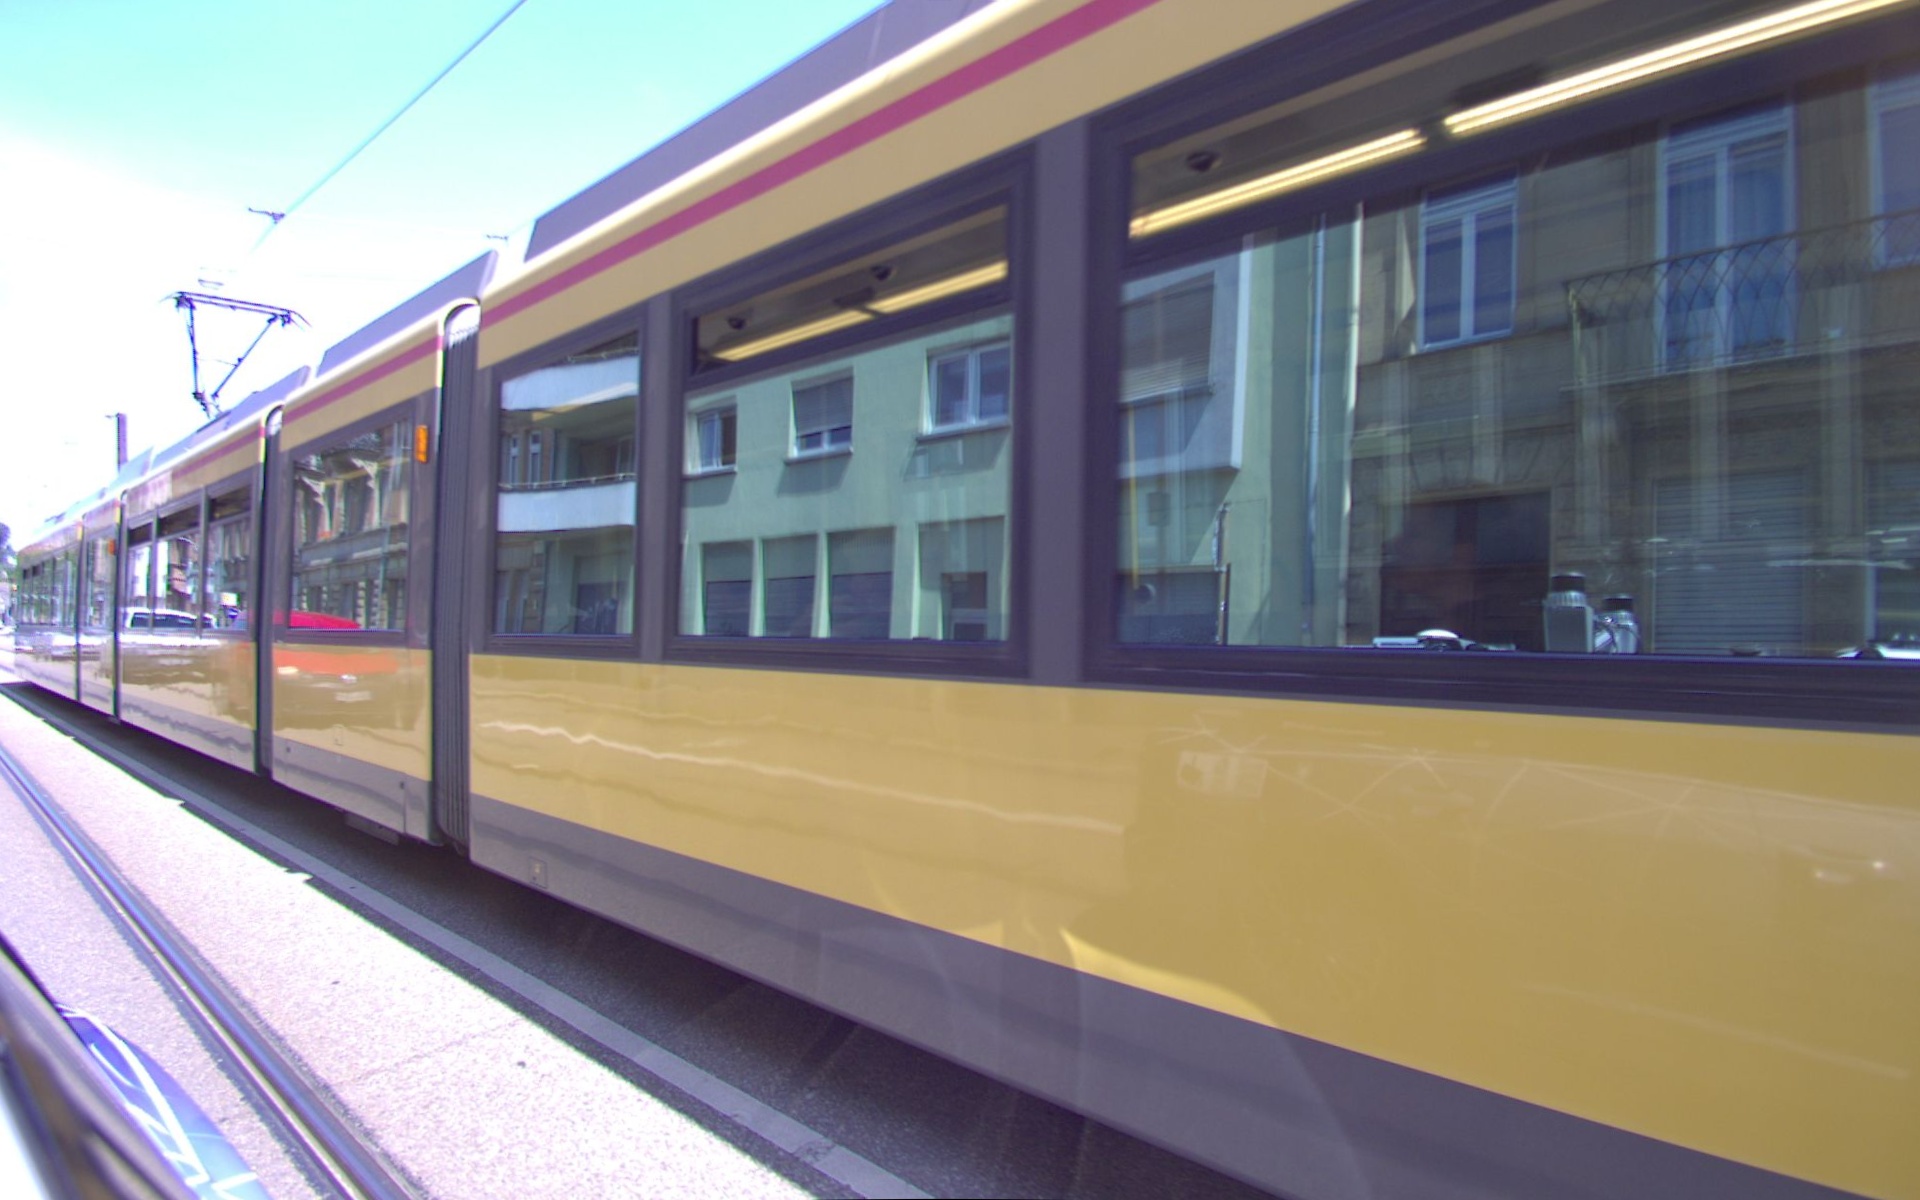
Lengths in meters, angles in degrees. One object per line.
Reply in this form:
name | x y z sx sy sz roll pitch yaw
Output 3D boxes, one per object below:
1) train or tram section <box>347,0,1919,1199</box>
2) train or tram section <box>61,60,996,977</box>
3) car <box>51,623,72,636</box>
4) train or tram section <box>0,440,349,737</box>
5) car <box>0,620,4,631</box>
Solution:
train or tram section | 2.765 -0.392 1.746 13.422 3.607 2.929 -2 -1 43
train or tram section | -5.715 -0.213 9.624 13.422 3.607 2.929 -2 -1 43
car | -112.056 3.661 126.184 1.800 1.639 4.529 1 -2 -44
train or tram section | -14.658 -0.028 17.927 13.422 3.607 2.929 -2 -1 43
car | -133.511 3.533 139.689 5.132 1.541 1.971 -1 -2 44
